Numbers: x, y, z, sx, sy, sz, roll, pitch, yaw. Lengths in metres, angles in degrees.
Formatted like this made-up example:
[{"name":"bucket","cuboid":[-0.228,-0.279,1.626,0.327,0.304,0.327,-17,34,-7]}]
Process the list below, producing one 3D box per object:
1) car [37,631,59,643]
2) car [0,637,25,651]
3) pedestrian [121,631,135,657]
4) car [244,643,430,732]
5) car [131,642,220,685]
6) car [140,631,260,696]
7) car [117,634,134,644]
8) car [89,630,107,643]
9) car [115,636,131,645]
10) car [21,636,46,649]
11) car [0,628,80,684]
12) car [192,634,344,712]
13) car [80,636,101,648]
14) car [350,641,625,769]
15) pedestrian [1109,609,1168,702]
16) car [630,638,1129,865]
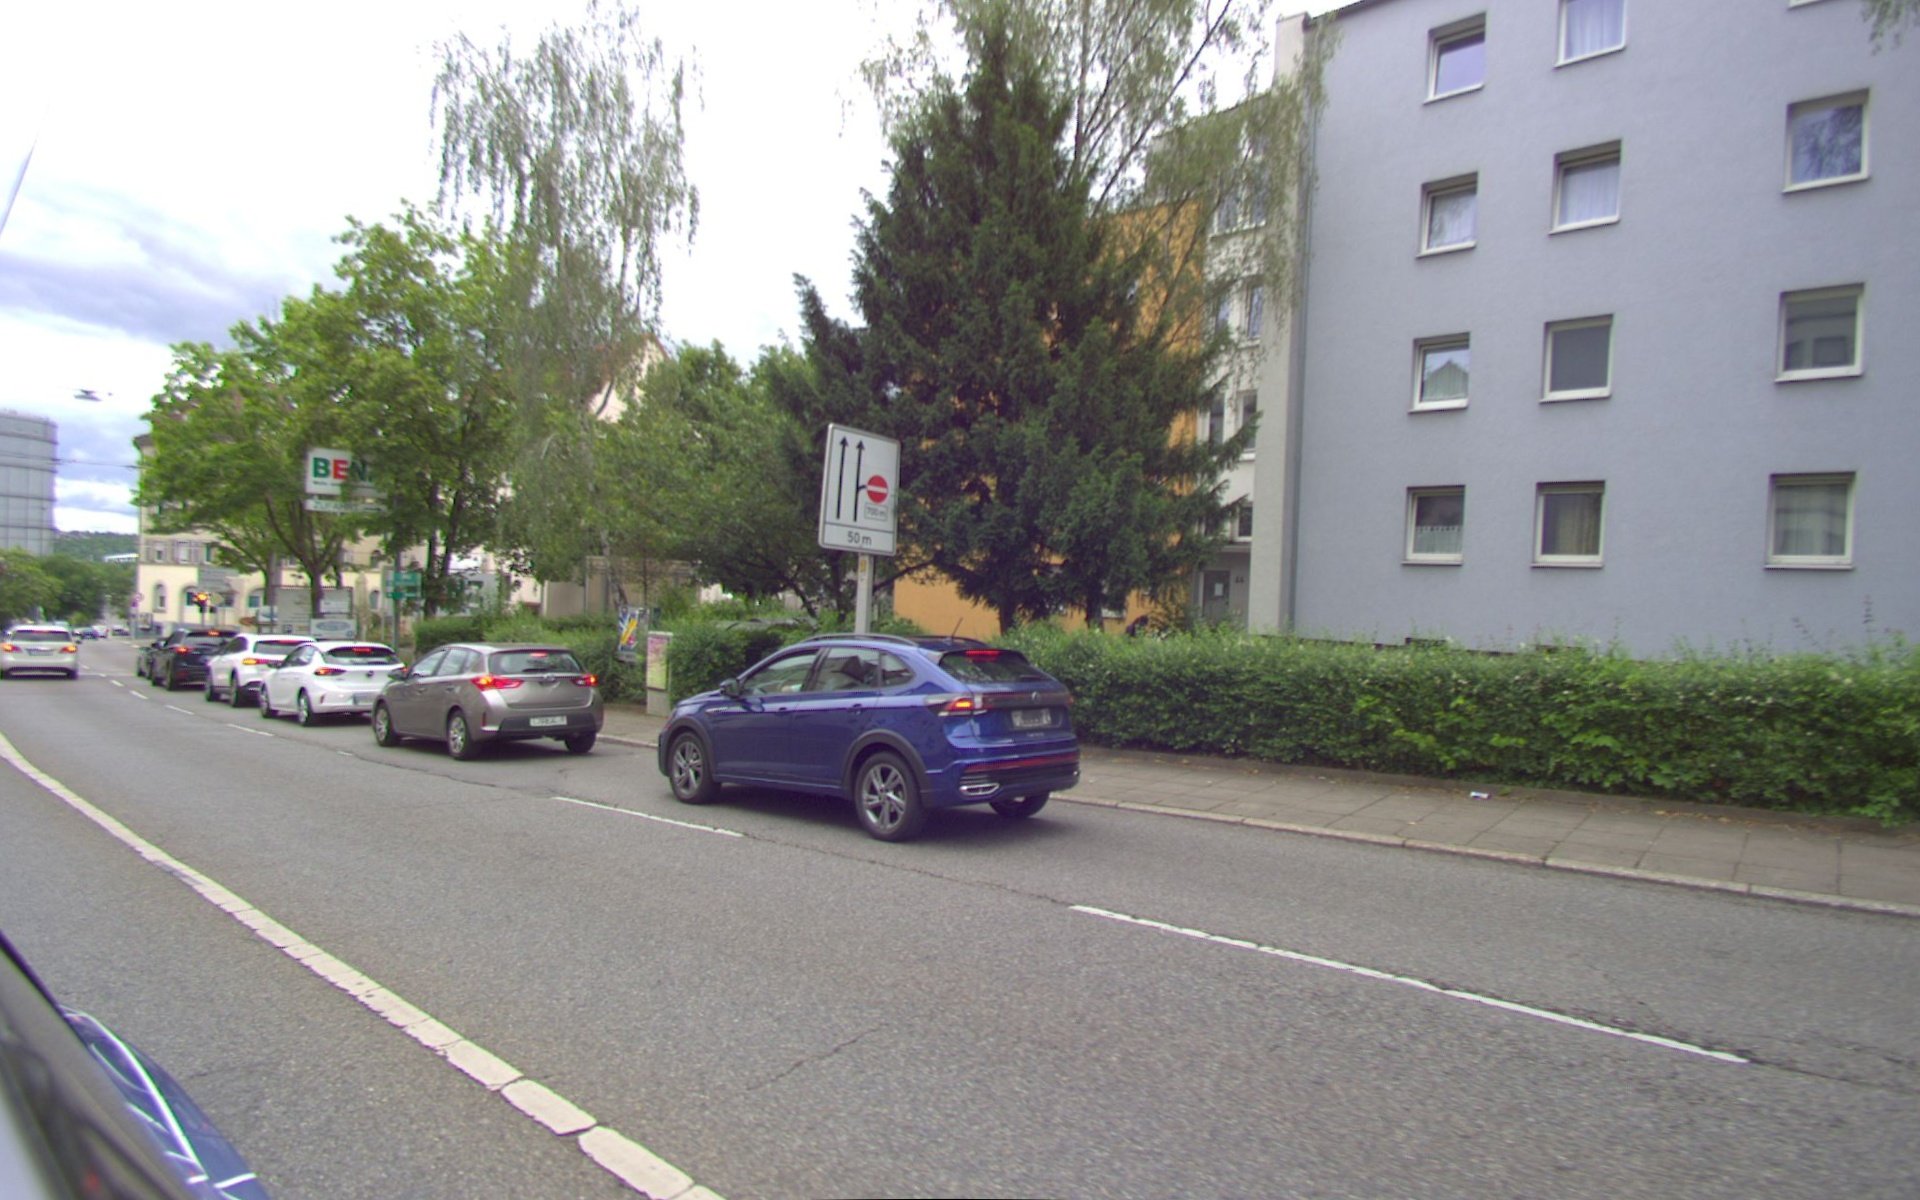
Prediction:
[{"name":"car","cuboid":[-132.029,5.355,146.551,1.967,1.612,4.009,0,-1,-36]},{"name":"car","cuboid":[-110.894,5.114,118.311,1.967,1.612,4.009,0,-1,-36]},{"name":"pedestrian","cuboid":[-64.081,3.388,77.973,0.735,1.951,0.905,-2,0,-38]},{"name":"car","cuboid":[-11.510,1.548,18.608,4.073,1.423,1.819,-2,-5,43]},{"name":"car","cuboid":[-25.558,2.052,32.917,1.780,1.291,4.240,5,-5,-43]},{"name":"car","cuboid":[-21.193,1.745,28.156,4.415,1.655,1.929,-2,-5,44]},{"name":"car","cuboid":[-143.200,6.692,173.642,1.967,1.612,4.009,0,-1,-36]},{"name":"car","cuboid":[-129.484,5.503,152.003,1.841,1.898,4.293,5,-5,-39]},{"name":"car","cuboid":[-150.490,7.243,182.045,1.967,1.612,4.009,0,-1,-36]},{"name":"car","cuboid":[-118.664,5.387,129.671,1.967,1.612,4.009,0,-1,-36]},{"name":"car","cuboid":[-28.005,1.689,30.612,1.755,1.558,4.328,5,-5,-44]},{"name":"car","cuboid":[-15.908,1.633,23.180,4.499,1.606,1.929,-2,-5,44]},{"name":"car","cuboid":[-111.832,5.439,130.208,1.731,1.458,3.760,0,-1,-36]},{"name":"car","cuboid":[-6.570,1.321,13.864,4.309,1.459,1.819,-2,-4,42]},{"name":"pedestrian","cuboid":[3.521,1.105,19.975,0.714,1.768,0.794,2,-6,-44]},{"name":"car","cuboid":[-0.870,1.082,8.734,4.309,1.459,1.819,-2,-4,42]}]
